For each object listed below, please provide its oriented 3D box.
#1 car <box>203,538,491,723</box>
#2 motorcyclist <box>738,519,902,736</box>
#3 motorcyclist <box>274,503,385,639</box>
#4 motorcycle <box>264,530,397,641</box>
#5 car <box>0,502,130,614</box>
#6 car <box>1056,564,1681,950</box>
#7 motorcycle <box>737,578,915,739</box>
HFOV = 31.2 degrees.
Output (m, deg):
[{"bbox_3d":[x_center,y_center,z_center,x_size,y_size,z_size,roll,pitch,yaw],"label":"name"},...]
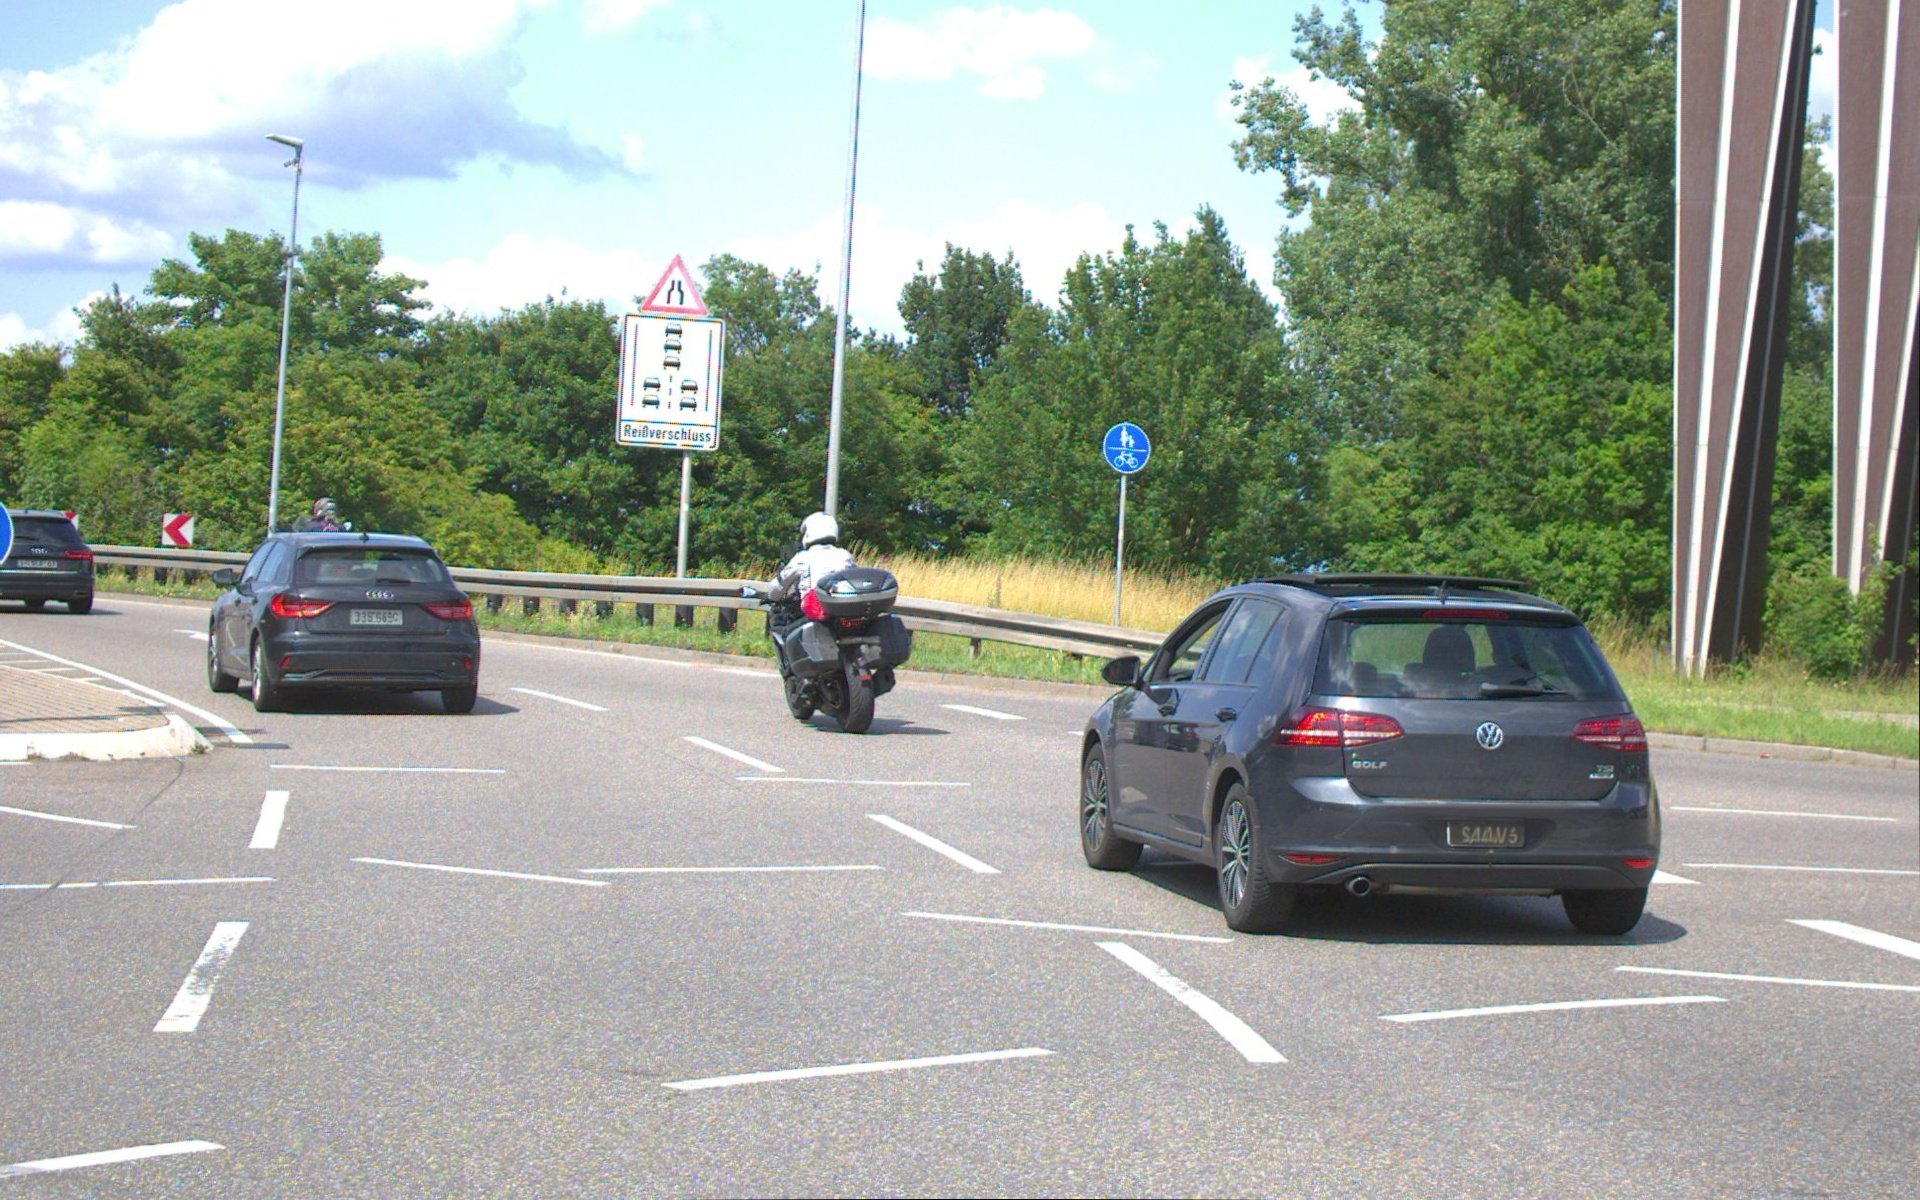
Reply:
[{"bbox_3d":[-5.047,0.223,27.964,1.681,1.383,3.740,1,0,-20],"label":"car"},{"bbox_3d":[-1.096,0.203,26.705,0.965,1.615,1.125,2,0,-16],"label":"motorcyclist"},{"bbox_3d":[-7.608,-0.353,41.452,0.966,1.590,1.125,2,0,-27],"label":"motorcyclist"},{"bbox_3d":[-7.608,-0.190,41.462,0.887,1.243,2.400,2,1,-27],"label":"motorcycle"},{"bbox_3d":[-13.110,-0.608,48.760,1.642,1.474,3.873,2,0,-28],"label":"car"},{"bbox_3d":[1.668,0.603,15.376,1.642,1.474,3.873,2,0,-11],"label":"car"},{"bbox_3d":[-1.058,0.425,26.461,0.789,1.128,2.400,2,1,-16],"label":"motorcycle"}]
